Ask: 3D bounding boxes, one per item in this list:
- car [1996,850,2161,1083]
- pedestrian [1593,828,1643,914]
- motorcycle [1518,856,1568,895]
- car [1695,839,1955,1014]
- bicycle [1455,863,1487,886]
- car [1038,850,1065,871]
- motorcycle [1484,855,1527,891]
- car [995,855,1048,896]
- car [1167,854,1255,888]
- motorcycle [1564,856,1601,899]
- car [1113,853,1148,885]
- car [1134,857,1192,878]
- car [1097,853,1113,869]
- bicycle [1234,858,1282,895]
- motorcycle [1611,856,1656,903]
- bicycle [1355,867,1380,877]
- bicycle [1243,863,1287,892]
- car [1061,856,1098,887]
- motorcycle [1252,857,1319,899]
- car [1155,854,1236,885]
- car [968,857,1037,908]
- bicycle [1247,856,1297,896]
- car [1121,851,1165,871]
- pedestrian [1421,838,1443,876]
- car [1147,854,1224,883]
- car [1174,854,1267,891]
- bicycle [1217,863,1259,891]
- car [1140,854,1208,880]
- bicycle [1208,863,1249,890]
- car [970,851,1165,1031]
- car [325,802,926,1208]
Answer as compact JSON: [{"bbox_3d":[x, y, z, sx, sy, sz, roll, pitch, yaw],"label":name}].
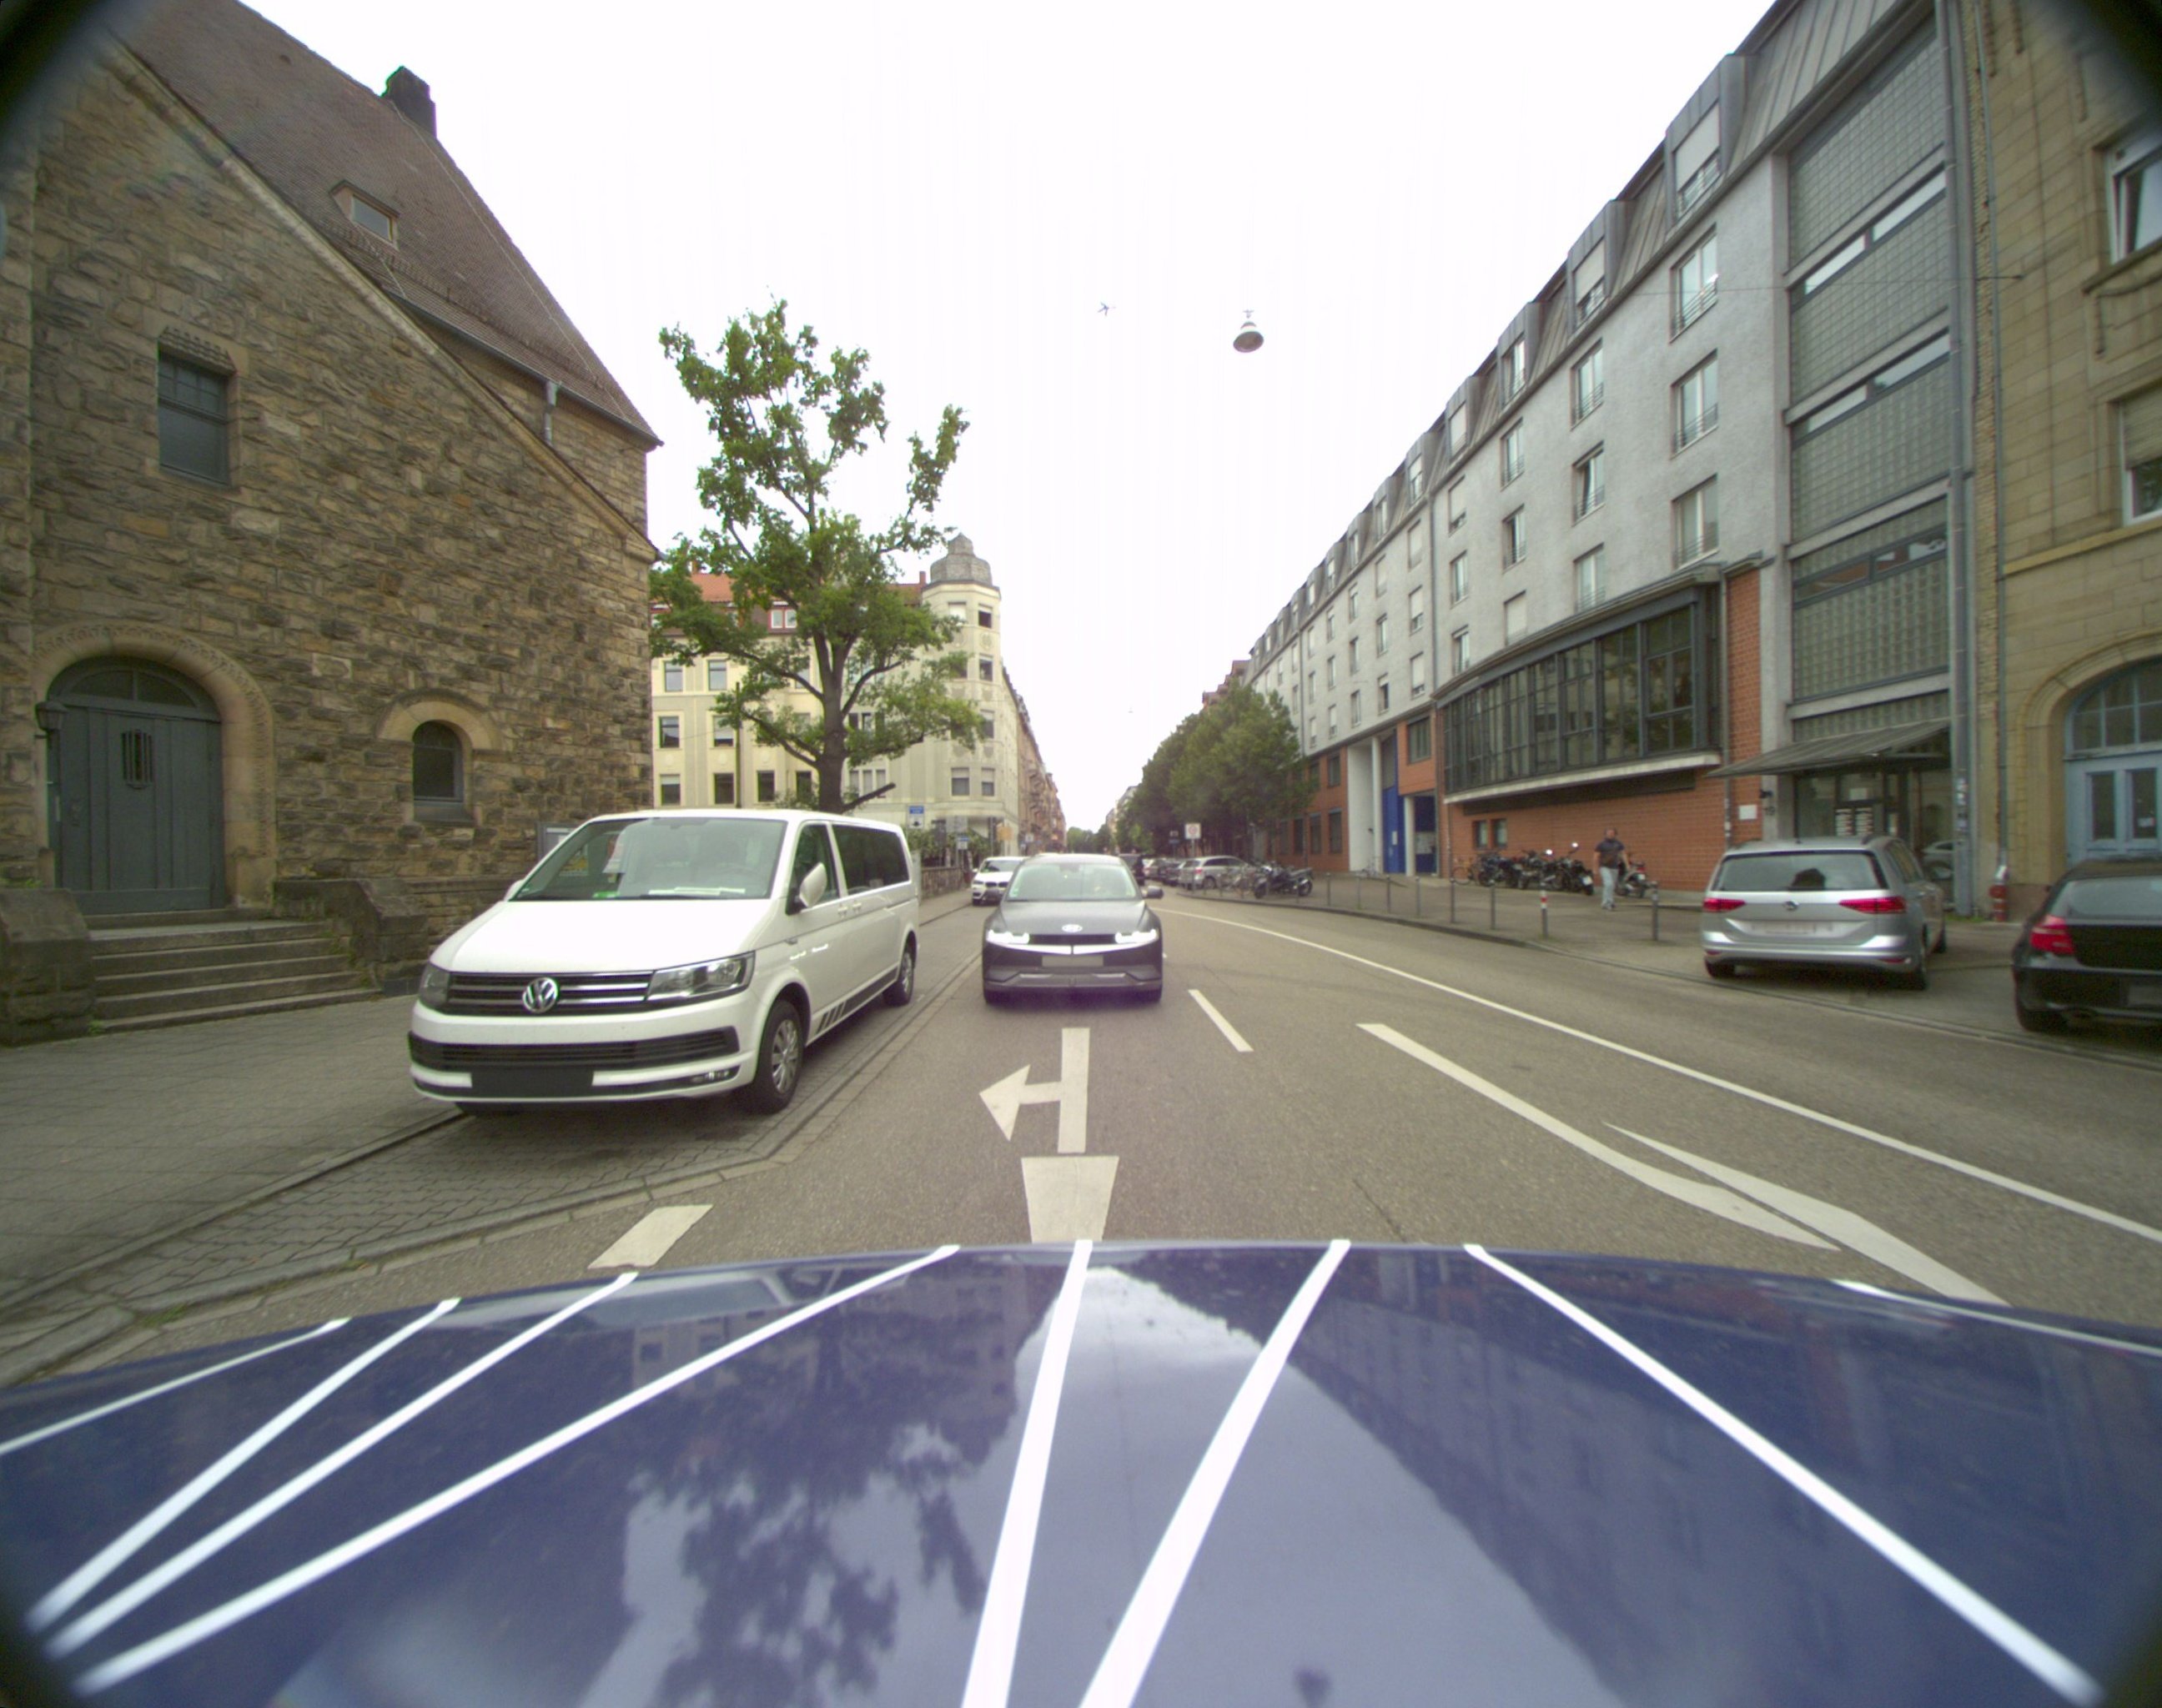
[{"bbox_3d":[9.252,0.765,6.165,4.006,1.430,1.729,-4,0,-31],"label":"car"},{"bbox_3d":[11.641,0.366,16.474,0.621,1.812,0.642,-1,0,1],"label":"pedestrian"},{"bbox_3d":[13.752,0.615,22.647,0.446,1.091,1.763,-1,0,1],"label":"motorcycle"},{"bbox_3d":[9.134,0.705,9.224,4.007,1.545,1.729,-4,0,-39],"label":"car"},{"bbox_3d":[13.967,0.719,27.238,0.336,0.782,1.581,-1,0,1],"label":"bicycle"},{"bbox_3d":[-2.246,0.504,58.431,1.820,1.556,4.000,-1,0,1],"label":"car"},{"bbox_3d":[13.753,0.595,24.655,0.446,1.091,1.763,-1,0,1],"label":"motorcycle"},{"bbox_3d":[-2.444,0.852,31.936,1.820,1.556,4.000,-1,0,1],"label":"car"},{"bbox_3d":[6.656,0.842,38.902,4.004,1.619,1.996,-1,0,-22],"label":"car"},{"bbox_3d":[13.415,0.615,20.370,0.445,1.091,1.765,-1,0,21],"label":"motorcycle"},{"bbox_3d":[2.929,0.839,45.287,1.698,1.793,4.129,-1,0,-2],"label":"car"},{"bbox_3d":[6.166,0.986,57.475,4.004,1.488,1.735,-1,0,-22],"label":"car"},{"bbox_3d":[3.039,0.890,96.101,1.998,1.897,4.000,-1,0,2],"label":"car"},{"bbox_3d":[6.568,0.832,28.157,1.630,1.282,0.416,-3,1,-1],"label":"bicycle"},{"bbox_3d":[13.614,0.606,18.753,0.445,1.091,1.765,-1,0,21],"label":"motorcycle"},{"bbox_3d":[13.518,0.832,35.882,1.010,0.434,0.527,-1,2,2],"label":"bicycle"},{"bbox_3d":[7.435,0.957,30.731,1.630,1.067,0.416,-3,1,-1],"label":"bicycle"},{"bbox_3d":[-0.057,0.939,43.366,1.910,1.597,4.251,-1,0,2],"label":"car"},{"bbox_3d":[7.065,0.813,26.289,2.124,1.345,0.599,-3,1,1],"label":"motorcycle"},{"bbox_3d":[6.341,0.831,42.121,4.004,1.619,1.996,-1,0,-22],"label":"car"},{"bbox_3d":[-2.577,0.892,25.797,1.820,1.556,4.000,-1,0,1],"label":"car"},{"bbox_3d":[6.879,0.801,27.421,1.630,1.345,0.416,-3,1,-1],"label":"bicycle"},{"bbox_3d":[6.277,0.724,77.137,4.004,1.897,1.996,-1,0,-22],"label":"car"},{"bbox_3d":[15.437,0.149,33.443,0.686,1.640,0.622,-2,1,2],"label":"pedestrian"},{"bbox_3d":[6.158,0.820,44.891,4.004,1.619,1.996,-1,0,-22],"label":"car"},{"bbox_3d":[6.638,0.849,36.242,4.004,1.619,1.769,-1,0,-22],"label":"car"},{"bbox_3d":[6.568,0.971,31.865,1.630,1.067,0.416,-3,1,-1],"label":"bicycle"},{"bbox_3d":[6.213,0.829,50.837,4.004,1.619,1.996,-1,0,-22],"label":"car"},{"bbox_3d":[6.290,0.978,32.505,1.630,1.067,0.416,-3,1,-1],"label":"bicycle"},{"bbox_3d":[-0.100,0.829,9.215,1.820,1.675,4.000,-1,0,1],"label":"car"},{"bbox_3d":[-2.699,0.726,6.220,1.810,1.908,5.163,-1,0,-1],"label":"car"}]
